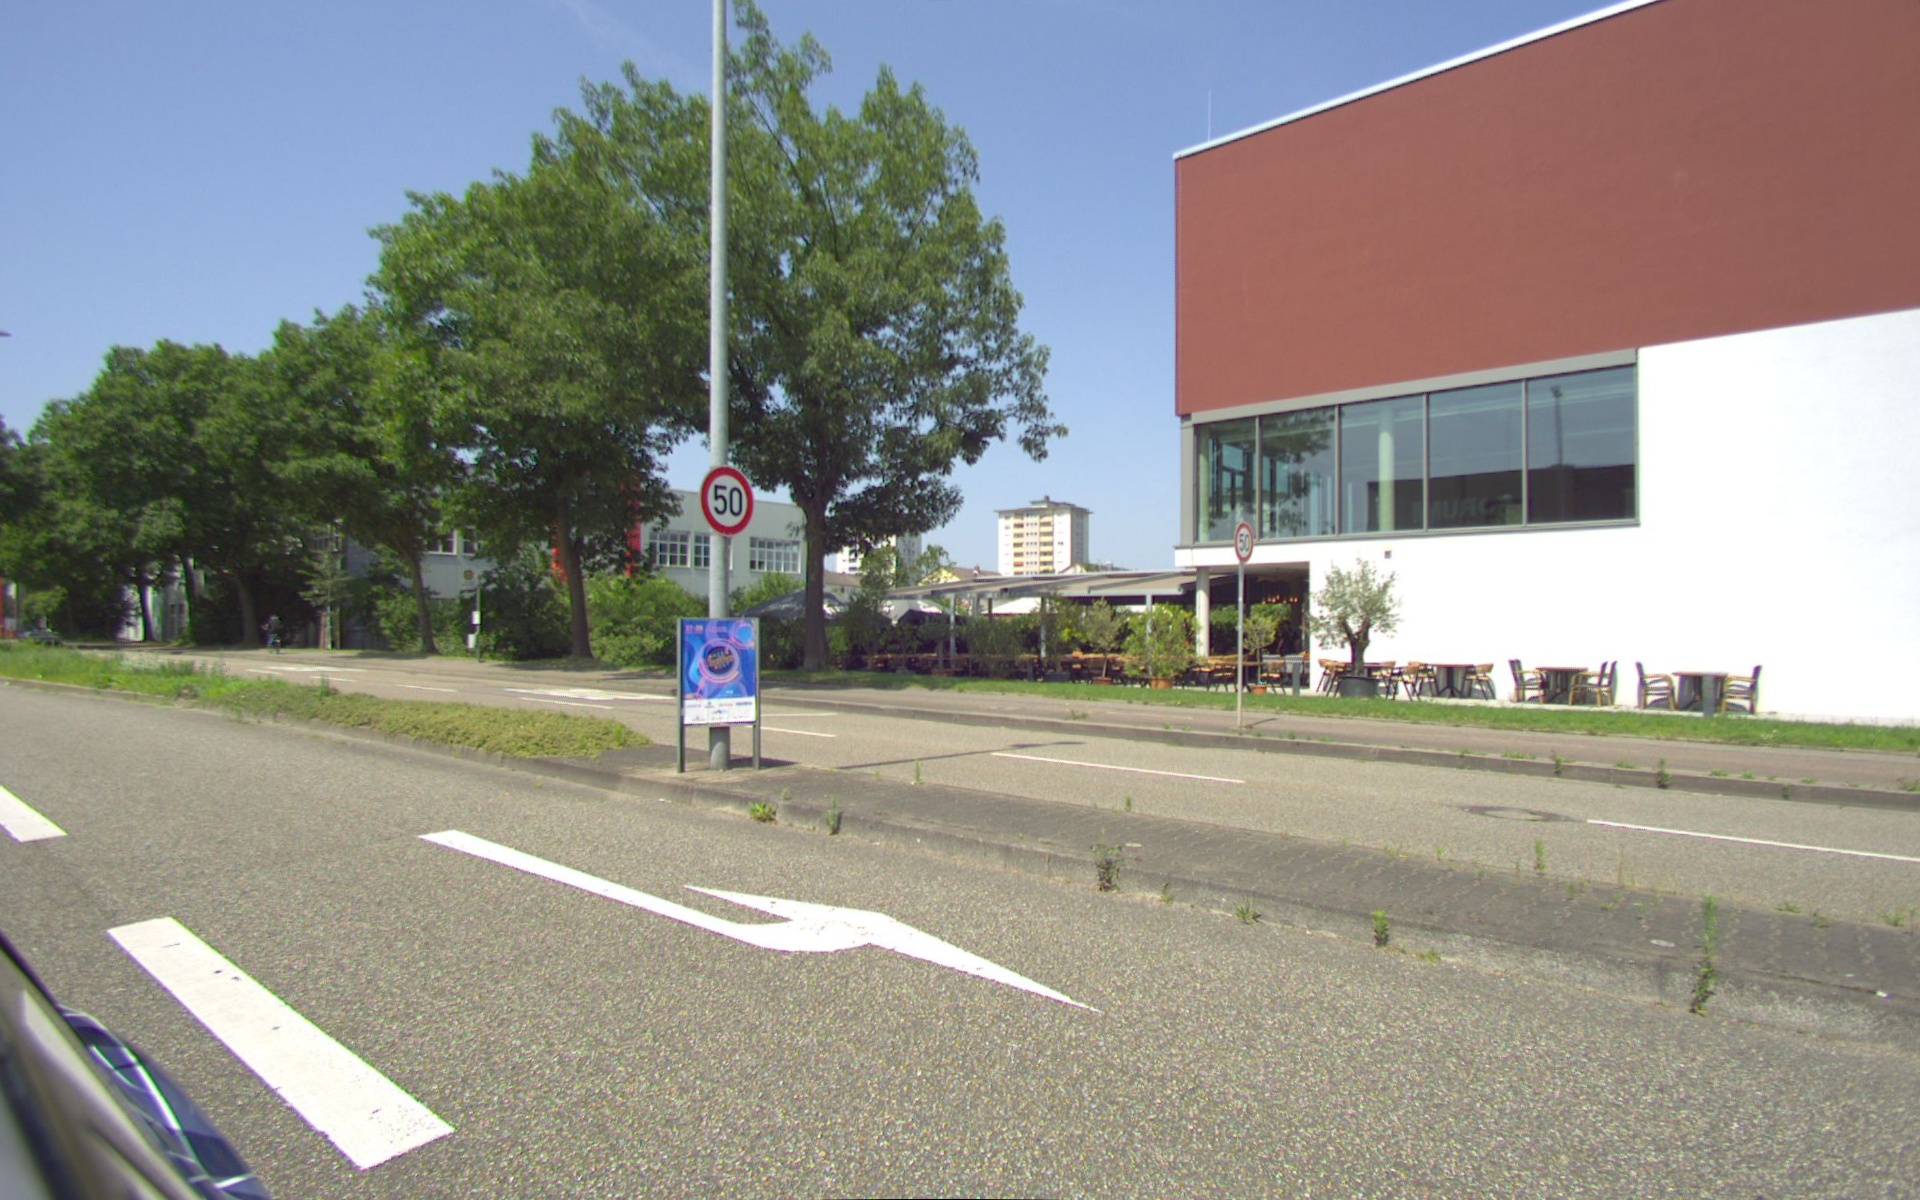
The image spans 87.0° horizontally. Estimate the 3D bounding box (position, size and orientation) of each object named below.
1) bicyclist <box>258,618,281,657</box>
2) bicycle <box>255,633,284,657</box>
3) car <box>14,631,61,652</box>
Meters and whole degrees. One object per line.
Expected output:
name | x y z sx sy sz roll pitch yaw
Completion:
bicyclist | -31.677 1.701 46.453 0.927 1.783 0.643 -1 -2 41
bicycle | -31.732 2.057 46.478 1.883 1.059 0.648 -1 -2 41
car | -61.492 2.773 67.443 4.298 1.272 1.700 -1 -4 40
